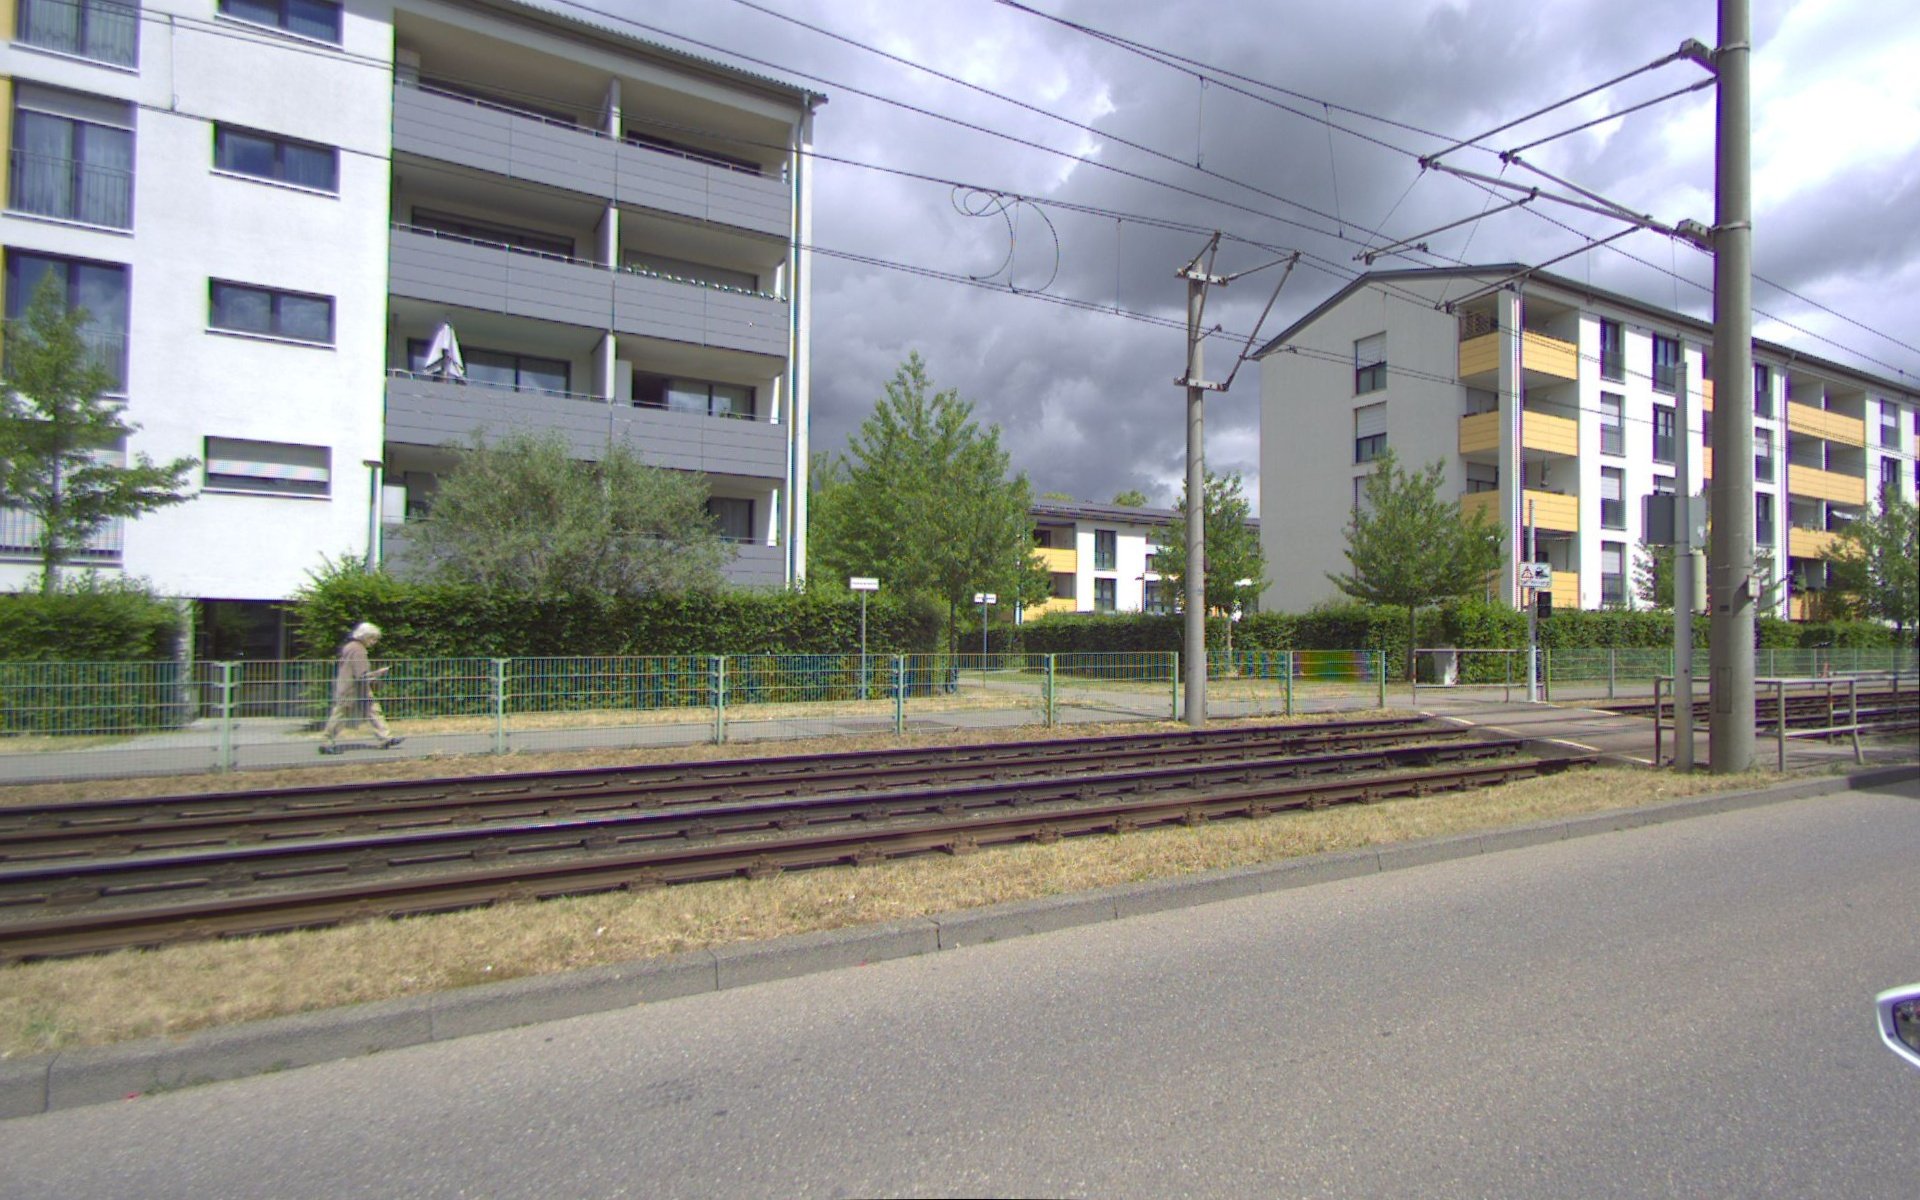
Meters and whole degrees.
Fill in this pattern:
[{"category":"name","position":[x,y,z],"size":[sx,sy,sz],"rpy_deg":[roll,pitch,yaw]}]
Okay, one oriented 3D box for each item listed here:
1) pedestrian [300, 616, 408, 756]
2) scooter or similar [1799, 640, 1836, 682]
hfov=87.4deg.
[{"category":"pedestrian","position":[-6.829,0.936,11.354],"size":[0.984,1.503,0.792],"rpy_deg":[1,-1,-31]},{"category":"scooter or similar","position":[27.741,1.967,32.486],"size":[1.286,1.310,0.488],"rpy_deg":[1,-1,-29]}]
